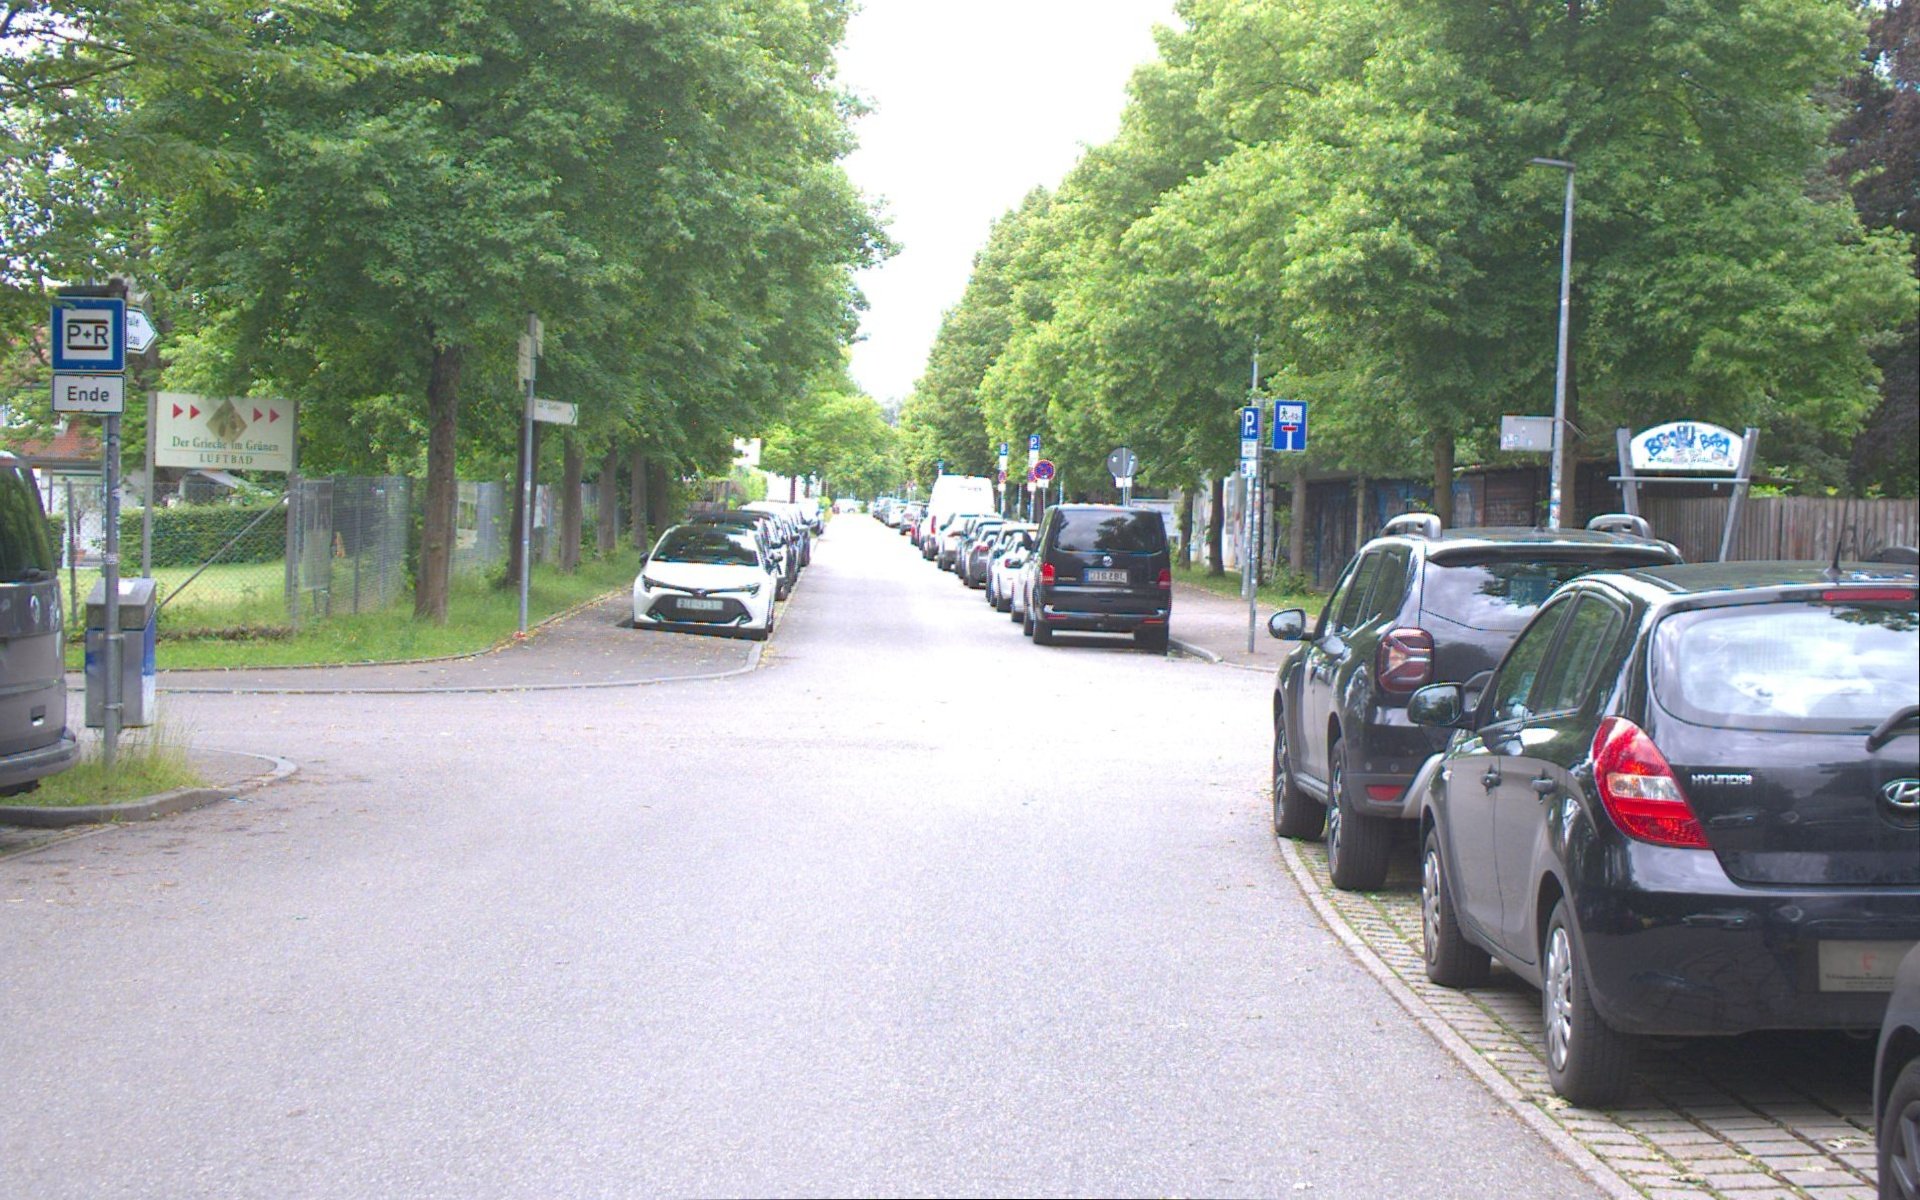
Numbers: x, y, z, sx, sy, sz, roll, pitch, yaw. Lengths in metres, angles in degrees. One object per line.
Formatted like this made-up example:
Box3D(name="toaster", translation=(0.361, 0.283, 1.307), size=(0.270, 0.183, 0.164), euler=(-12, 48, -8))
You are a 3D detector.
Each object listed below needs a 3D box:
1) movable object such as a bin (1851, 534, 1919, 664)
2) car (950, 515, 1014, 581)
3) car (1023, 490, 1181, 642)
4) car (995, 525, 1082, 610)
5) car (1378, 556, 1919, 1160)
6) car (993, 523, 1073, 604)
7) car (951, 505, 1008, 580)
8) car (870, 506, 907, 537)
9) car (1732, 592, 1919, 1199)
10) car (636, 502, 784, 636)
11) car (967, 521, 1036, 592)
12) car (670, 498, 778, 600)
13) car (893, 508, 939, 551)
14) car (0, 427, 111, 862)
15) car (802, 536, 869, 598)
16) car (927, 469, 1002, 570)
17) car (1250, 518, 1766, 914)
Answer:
Box3D(name="movable object such as a bin", translation=(10.928, -0.008, 38.960), size=(1.078, 1.437, 1.282), euler=(1, 0, 45))
Box3D(name="car", translation=(0.509, -1.267, 82.399), size=(1.469, 1.526, 3.189), euler=(1, 1, 0))
Box3D(name="car", translation=(1.947, -0.500, 48.305), size=(1.988, 2.007, 4.108), euler=(1, 1, 0))
Box3D(name="car", translation=(1.403, -0.619, 62.626), size=(1.469, 1.476, 3.189), euler=(1, 1, 0))
Box3D(name="car", translation=(2.459, 0.631, 10.764), size=(1.736, 1.489, 4.234), euler=(1, 1, 0))
Box3D(name="car", translation=(1.416, -0.740, 67.771), size=(1.469, 1.526, 3.189), euler=(1, 1, 0))
Box3D(name="car", translation=(0.513, -1.553, 92.509), size=(1.469, 1.961, 3.189), euler=(1, 1, 0))
Box3D(name="car", translation=(-4.121, -4.567, 199.800), size=(1.898, 1.700, 4.063), euler=(1, 0, 2))
Box3D(name="car", translation=(2.636, 0.747, 5.518), size=(1.736, 1.427, 4.502), euler=(1, 1, 0))
Box3D(name="car", translation=(-3.295, -0.440, 45.443), size=(1.764, 1.590, 4.217), euler=(3, 1, -4))
Box3D(name="car", translation=(0.903, -0.984, 76.652), size=(1.469, 1.526, 3.189), euler=(1, 1, 0))
Box3D(name="car", translation=(-4.043, -0.891, 59.192), size=(1.691, 1.590, 4.000), euler=(3, 1, -4))
Box3D(name="car", translation=(-2.101, -3.399, 166.301), size=(1.993, 2.007, 4.000), euler=(1, 0, 2))
Box3D(name="car", translation=(-6.546, 0.158, 16.469), size=(4.502, 1.971, 1.891), euler=(1, 0, -2))
Box3D(name="car", translation=(-3.267, -0.883, 89.670), size=(1.593, 1.554, 3.194), euler=(-1, 2, -5))
Box3D(name="car", translation=(0.124, -2.488, 106.169), size=(2.184, 3.005, 4.897), euler=(1, 1, 0))
Box3D(name="car", translation=(2.475, 0.450, 16.567), size=(1.736, 1.628, 4.375), euler=(1, 1, 0))
